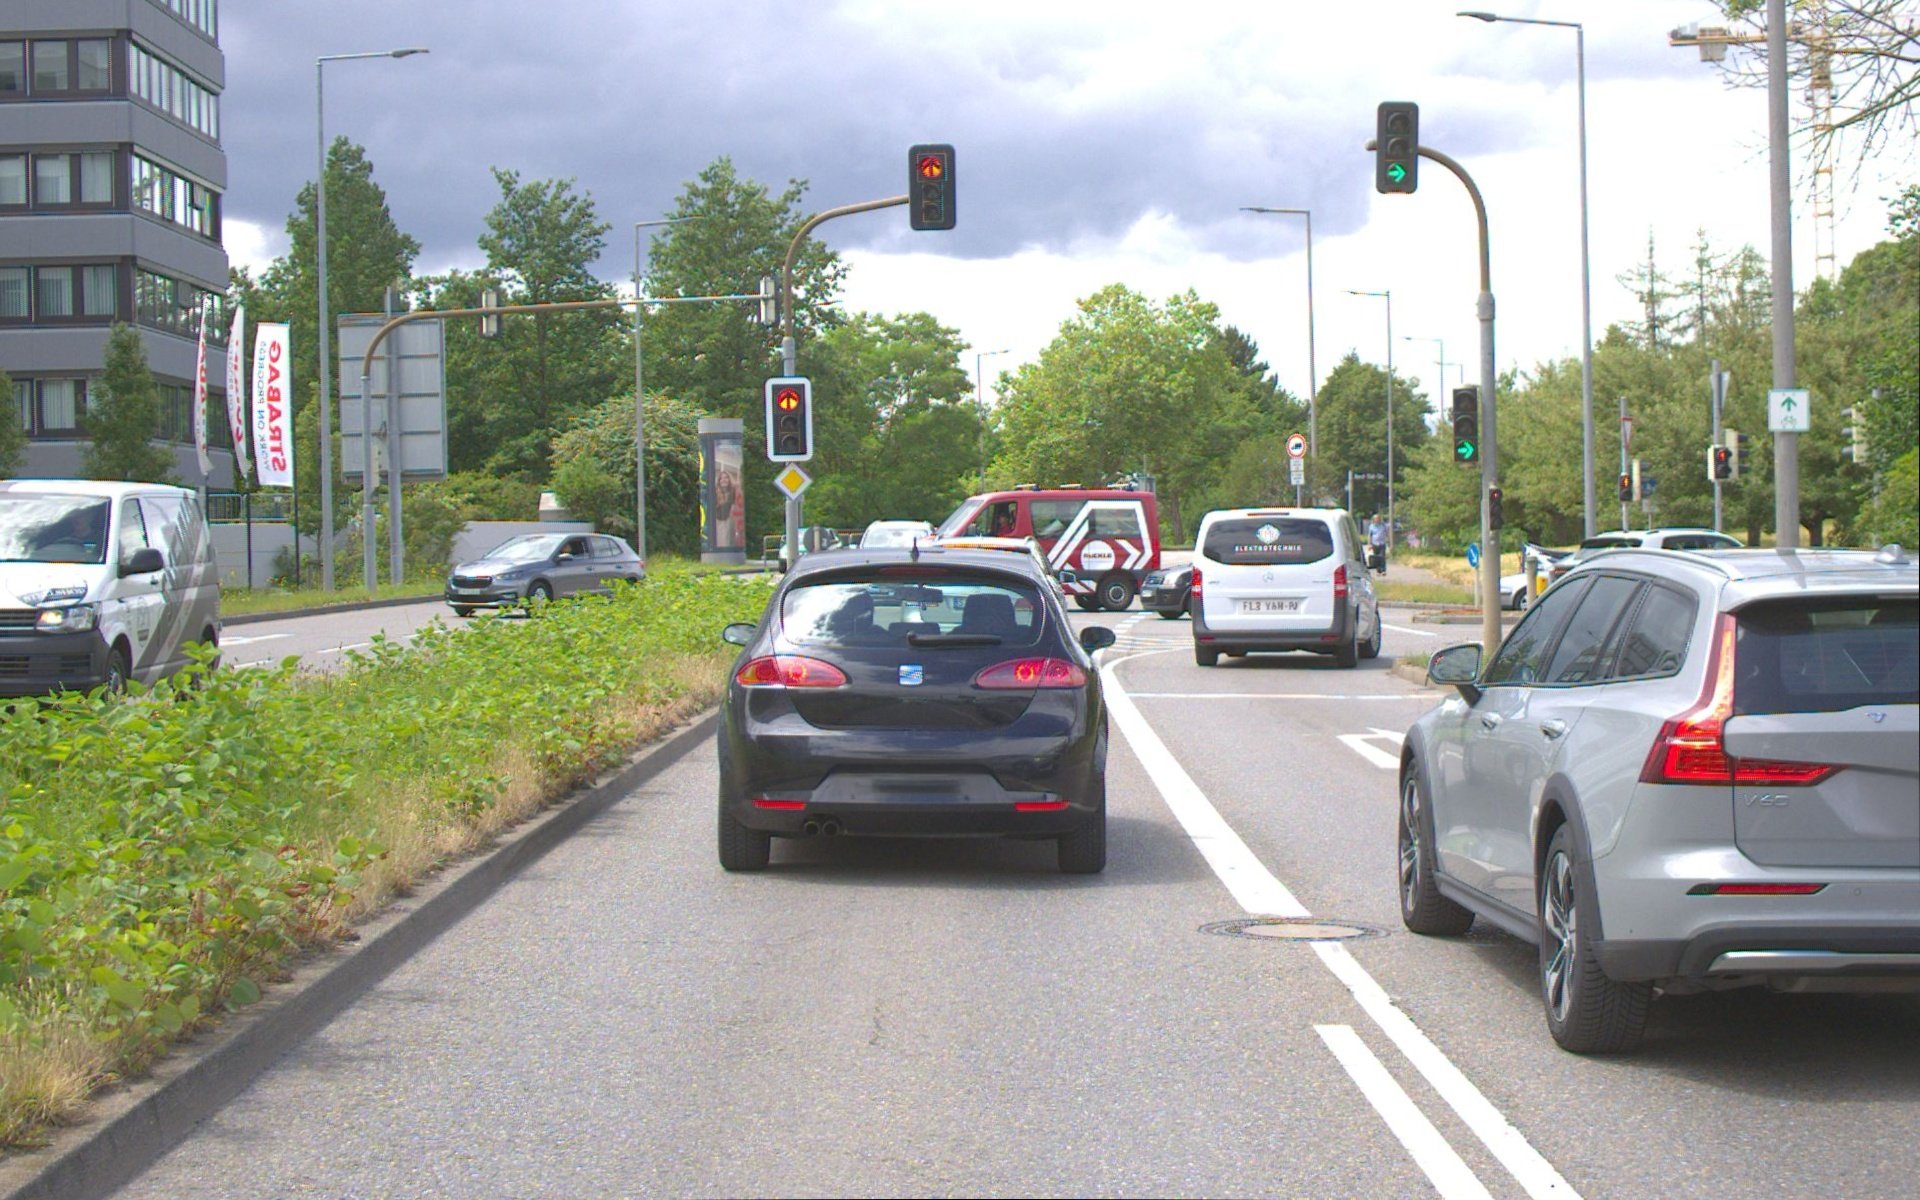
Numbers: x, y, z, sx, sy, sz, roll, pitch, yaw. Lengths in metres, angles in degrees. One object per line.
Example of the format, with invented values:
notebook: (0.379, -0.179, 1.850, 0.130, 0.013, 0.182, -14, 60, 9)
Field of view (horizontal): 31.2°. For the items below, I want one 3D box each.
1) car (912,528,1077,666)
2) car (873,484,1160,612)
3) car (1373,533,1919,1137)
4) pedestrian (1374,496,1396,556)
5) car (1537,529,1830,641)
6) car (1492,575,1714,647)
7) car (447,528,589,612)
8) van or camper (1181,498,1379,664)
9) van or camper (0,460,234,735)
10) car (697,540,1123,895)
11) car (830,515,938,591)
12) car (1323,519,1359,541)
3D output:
car: (0.359, -0.071, 39.983, 1.773, 1.486, 3.583, -1, 1, -1)
car: (1.075, -1.024, 66.727, 5.222, 2.404, 2.001, -1, 1, -12)
car: (2.553, 0.565, 11.111, 1.863, 1.513, 4.447, -1, 1, 0)
pedestrian: (12.330, -2.140, 99.763, 0.559, 1.720, 0.588, 1, 1, 2)
car: (10.772, -0.248, 51.151, 3.987, 1.590, 2.000, -1, 1, -32)
car: (12.607, 0.198, 67.622, 3.987, 1.349, 2.000, 0, 1, 0)
car: (-7.627, -0.542, 59.663, 1.932, 1.393, 4.000, 0, 1, 0)
van or camper: (3.890, -0.265, 41.078, 1.994, 1.853, 4.942, 0, 1, 10)
van or camper: (-7.314, -0.053, 27.550, 1.993, 2.007, 4.816, -1, 1, -1)
car: (-0.189, 0.462, 16.242, 1.773, 1.447, 3.582, 1, 1, 1)
car: (-1.618, -1.040, 74.434, 1.994, 1.590, 4.000, 0, 1, 4)
car: (23.246, -4.268, 209.789, 1.994, 1.347, 3.999, 0, 1, 9)
